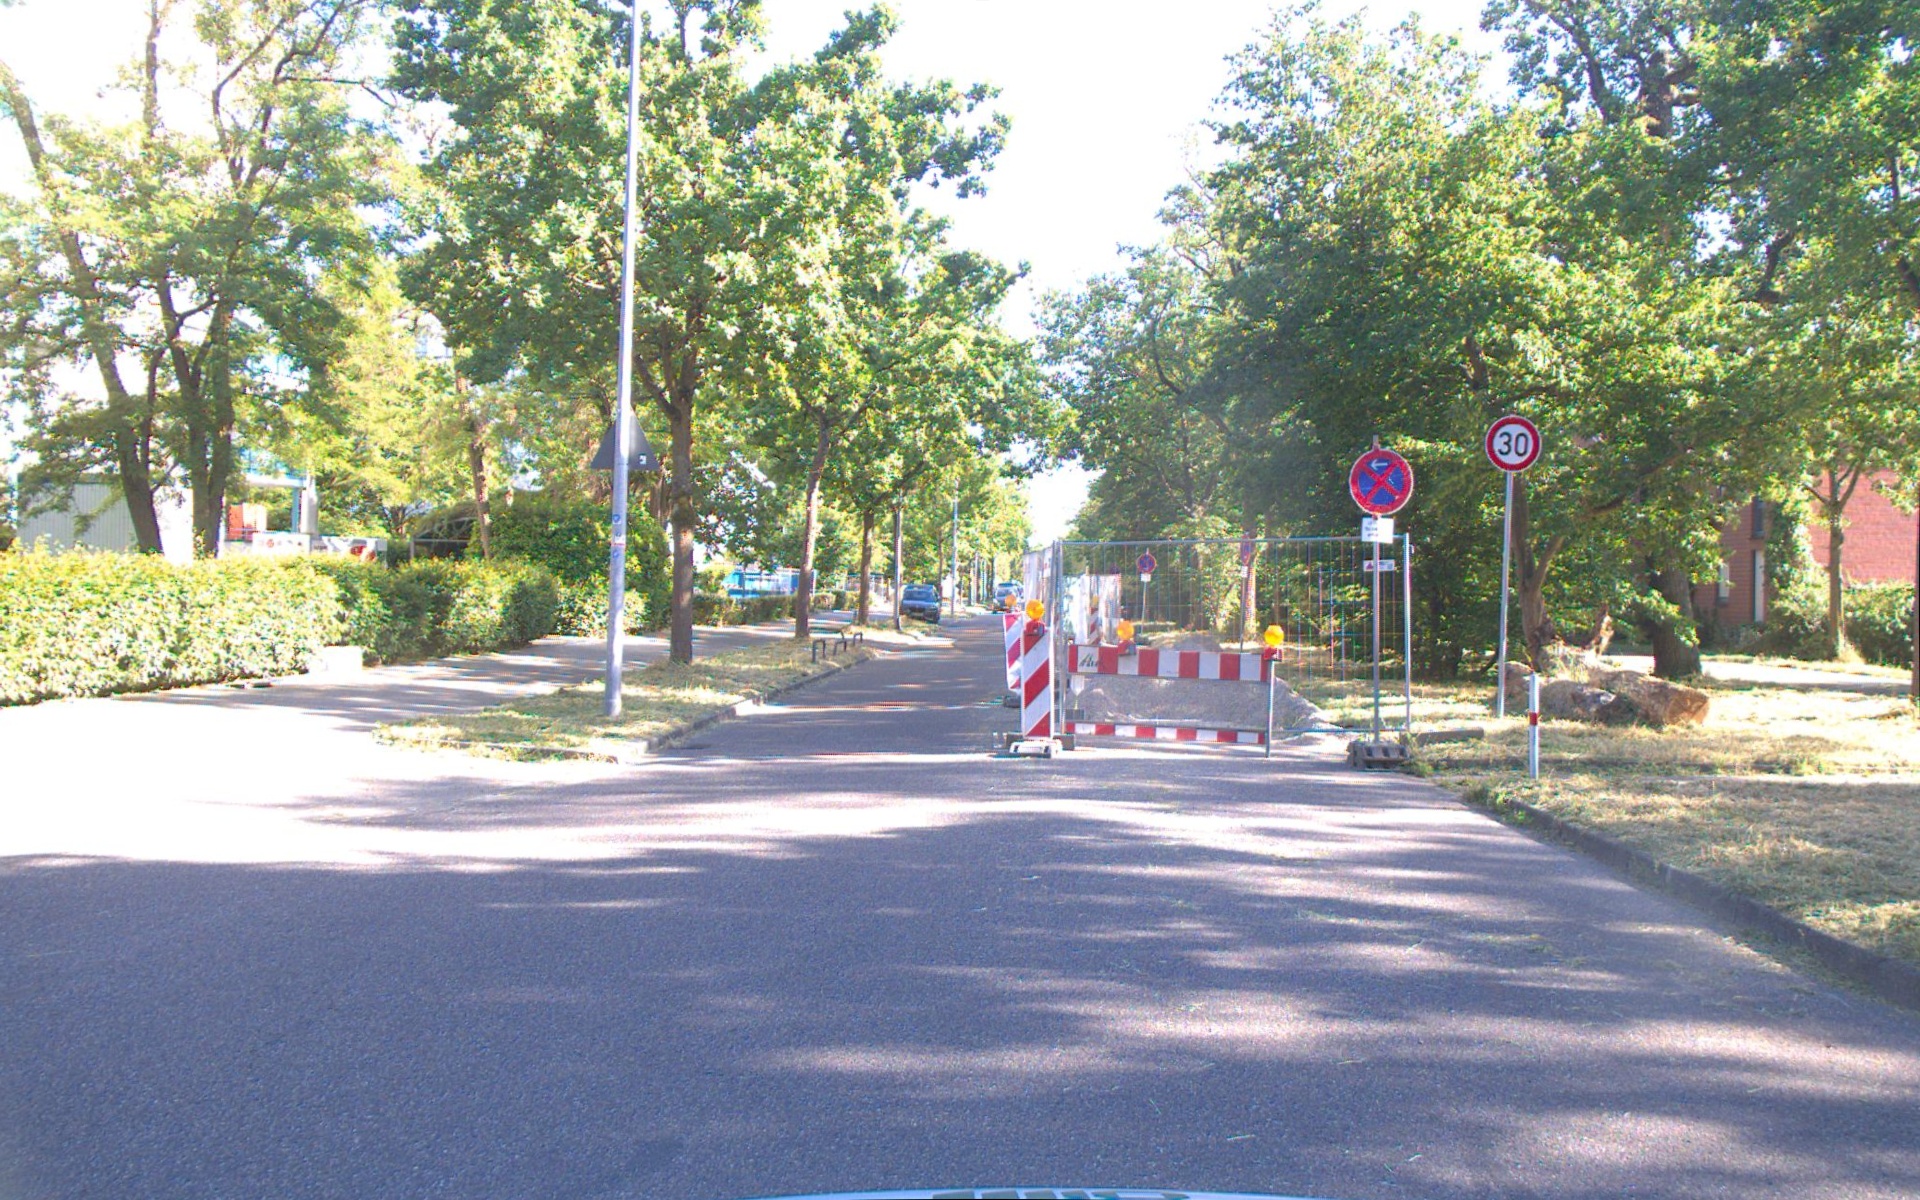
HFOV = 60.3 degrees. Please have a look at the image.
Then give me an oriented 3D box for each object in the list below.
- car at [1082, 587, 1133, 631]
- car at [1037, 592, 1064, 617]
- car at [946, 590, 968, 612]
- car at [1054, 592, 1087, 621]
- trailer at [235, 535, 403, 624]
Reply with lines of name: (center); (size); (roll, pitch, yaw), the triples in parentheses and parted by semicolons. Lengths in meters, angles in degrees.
car: (5.721, 0.340, 64.583); (1.717, 1.623, 3.658); (1, 0, 1)
car: (5.085, 0.240, 92.949); (1.333, 1.325, 3.481); (2, 0, 0)
car: (-0.195, 0.103, 105.746); (1.333, 1.325, 3.481); (2, 0, 0)
car: (5.339, 0.307, 79.953); (1.333, 1.325, 3.481); (2, 0, 0)
trailer: (-16.084, -0.504, 41.767); (1.934, 2.078, 4.433); (1, 0, 10)
